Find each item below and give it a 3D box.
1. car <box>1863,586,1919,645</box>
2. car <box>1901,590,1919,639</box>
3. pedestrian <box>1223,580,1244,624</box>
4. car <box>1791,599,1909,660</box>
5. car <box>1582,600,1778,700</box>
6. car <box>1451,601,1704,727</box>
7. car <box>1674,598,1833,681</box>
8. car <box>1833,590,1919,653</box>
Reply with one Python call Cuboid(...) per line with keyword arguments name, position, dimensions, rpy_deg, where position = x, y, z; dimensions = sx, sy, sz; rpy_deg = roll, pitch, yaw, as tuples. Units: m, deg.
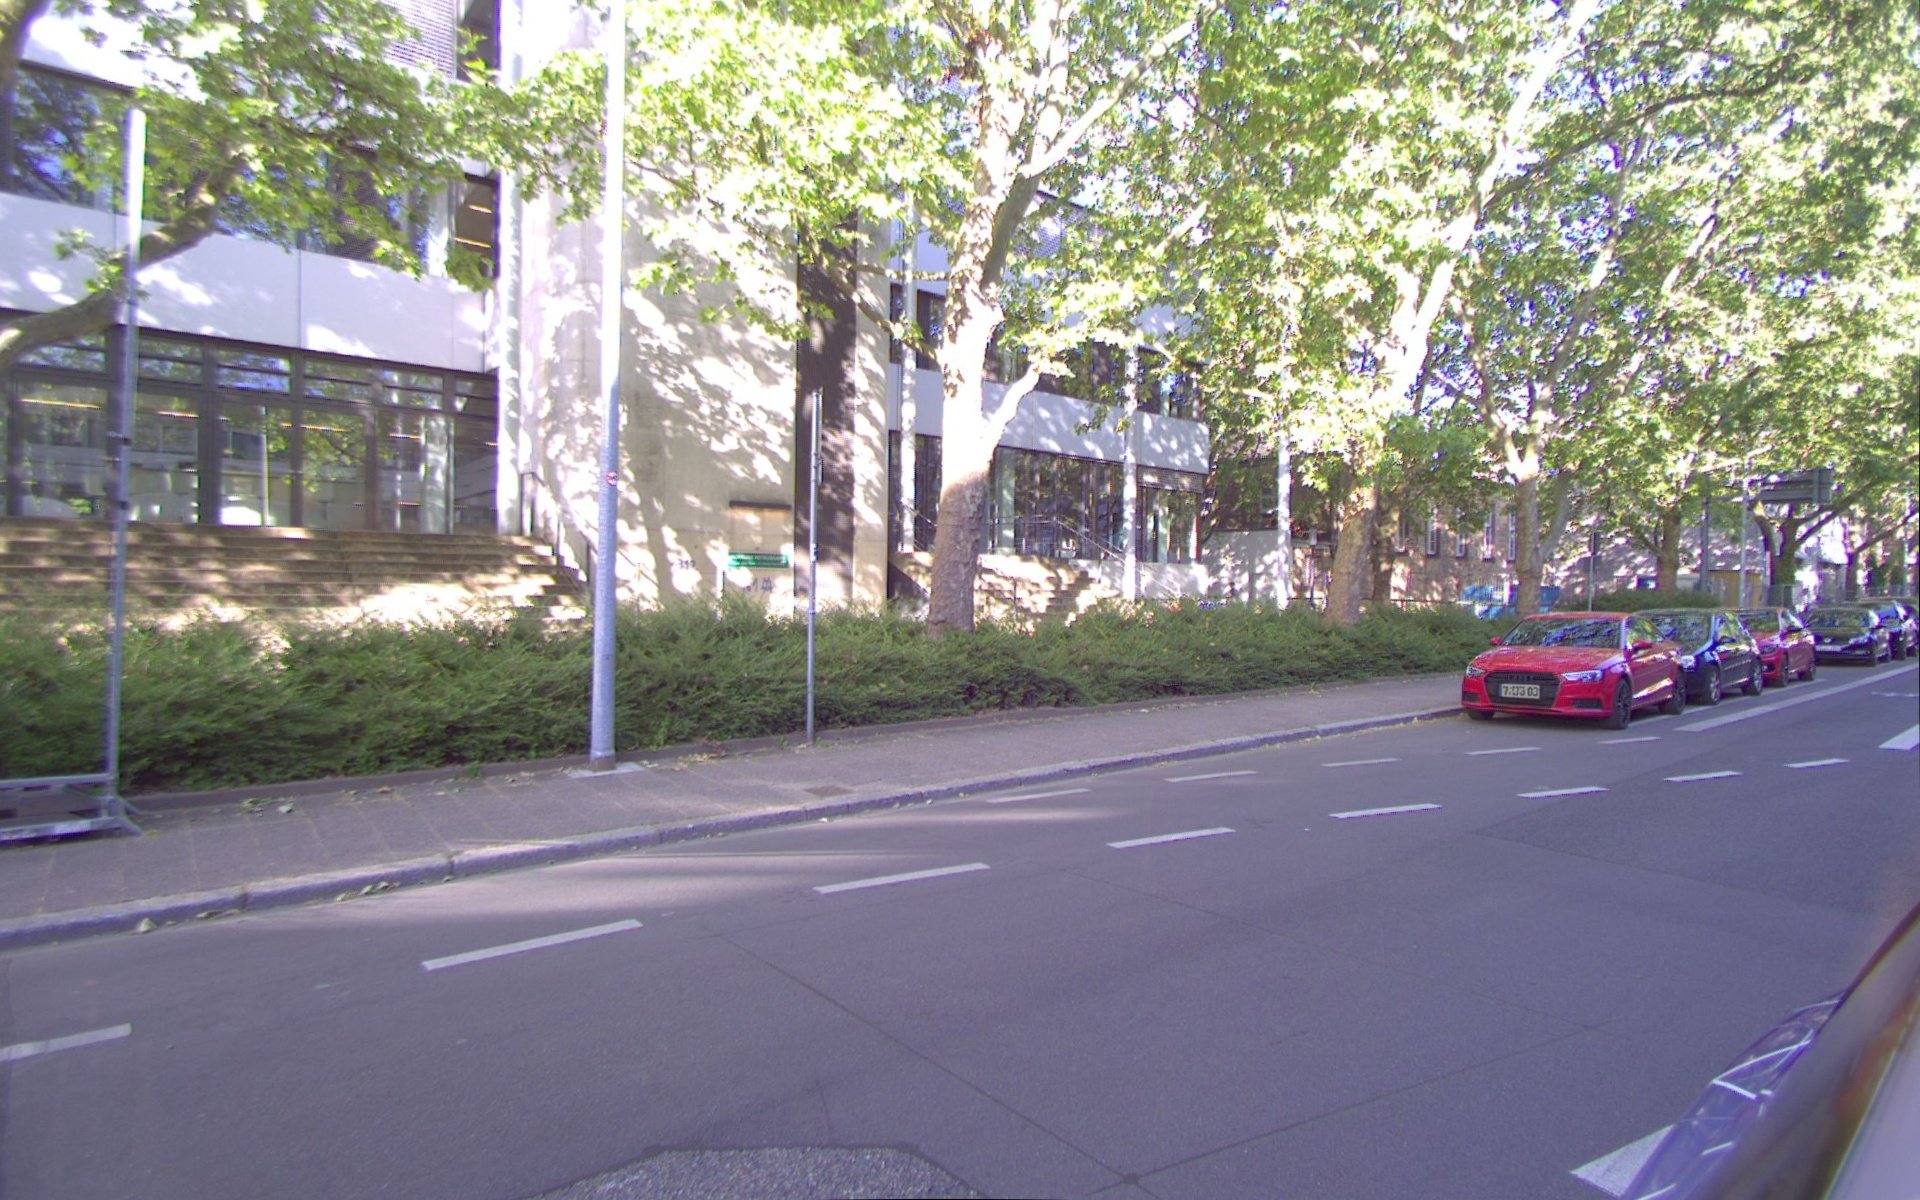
Cuboid(name="car", position=(30.989, 0.484, 32.985), dimensions=(4.370, 1.844, 1.753), rpy_deg=(0, -1, -41))
Cuboid(name="car", position=(36.212, 0.514, 37.281), dimensions=(4.370, 1.750, 1.753), rpy_deg=(0, -1, -41))
Cuboid(name="pedestrian", position=(10.568, 0.059, 39.085), dimensions=(0.649, 1.691, 0.525), rpy_deg=(0, 0, -39))
Cuboid(name="car", position=(22.965, 0.714, 26.081), dimensions=(3.841, 1.451, 1.753), rpy_deg=(0, -1, -41))
Cuboid(name="car", position=(11.868, 0.736, 16.605), dimensions=(3.841, 1.451, 1.753), rpy_deg=(0, -1, -41))
Cuboid(name="car", position=(8.293, 0.738, 13.460), dimensions=(3.930, 1.427, 1.753), rpy_deg=(0, -1, -41))
Cuboid(name="car", position=(15.720, 0.718, 19.982), dimensions=(3.841, 1.486, 1.753), rpy_deg=(0, -1, -41))
Cuboid(name="car", position=(26.731, 0.583, 29.194), dimensions=(4.101, 1.674, 1.753), rpy_deg=(0, -1, -41))
